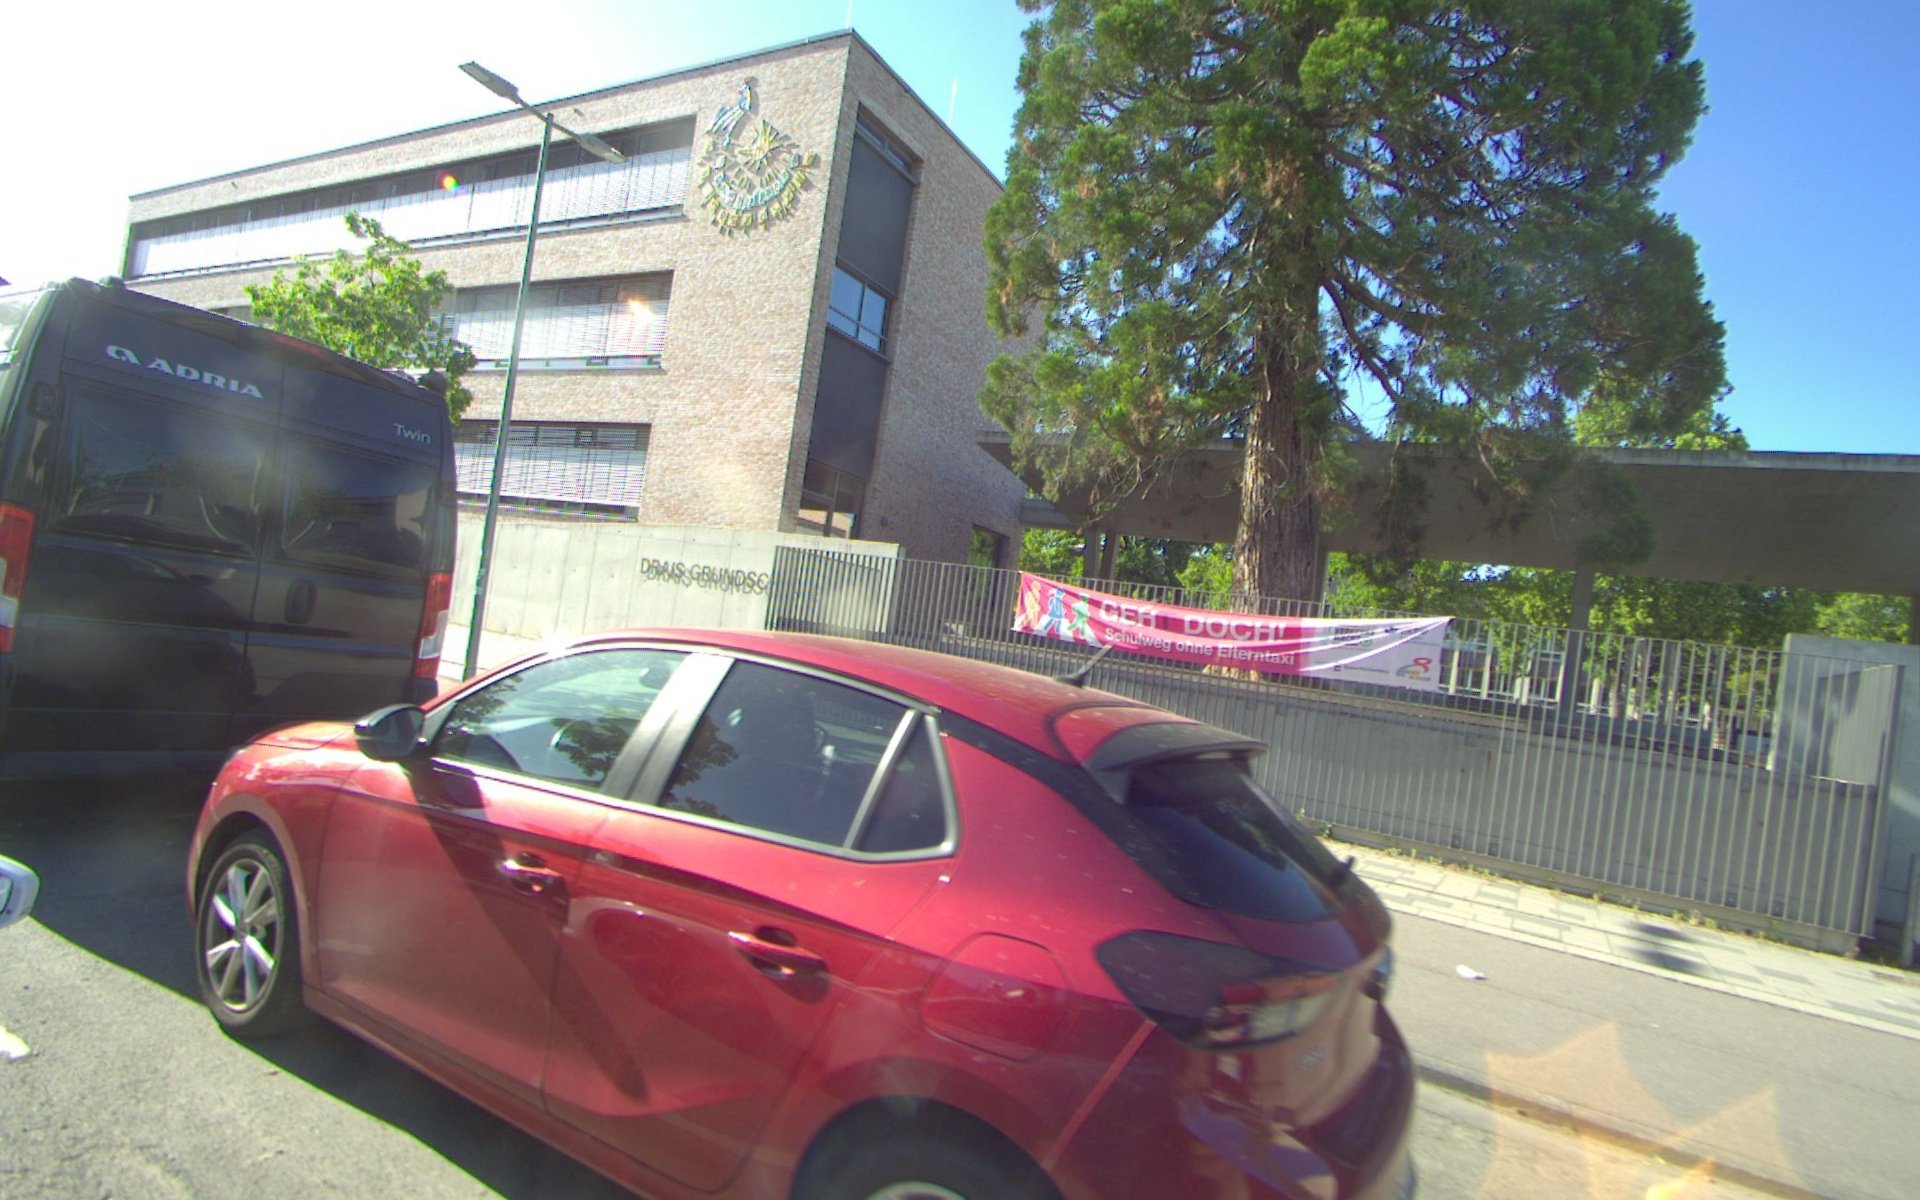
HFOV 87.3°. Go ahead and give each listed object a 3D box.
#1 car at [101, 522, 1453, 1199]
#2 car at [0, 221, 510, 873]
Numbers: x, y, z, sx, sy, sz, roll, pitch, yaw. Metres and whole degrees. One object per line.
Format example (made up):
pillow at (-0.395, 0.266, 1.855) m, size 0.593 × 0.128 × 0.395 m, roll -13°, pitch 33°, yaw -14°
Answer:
car at (-0.729, 0.755, 3.207) m, size 3.883 × 1.471 × 1.798 m, roll 7°, pitch -2°, yaw 31°
car at (-5.987, -0.413, 6.385) m, size 6.421 × 2.544 × 2.120 m, roll 7°, pitch -2°, yaw 30°
